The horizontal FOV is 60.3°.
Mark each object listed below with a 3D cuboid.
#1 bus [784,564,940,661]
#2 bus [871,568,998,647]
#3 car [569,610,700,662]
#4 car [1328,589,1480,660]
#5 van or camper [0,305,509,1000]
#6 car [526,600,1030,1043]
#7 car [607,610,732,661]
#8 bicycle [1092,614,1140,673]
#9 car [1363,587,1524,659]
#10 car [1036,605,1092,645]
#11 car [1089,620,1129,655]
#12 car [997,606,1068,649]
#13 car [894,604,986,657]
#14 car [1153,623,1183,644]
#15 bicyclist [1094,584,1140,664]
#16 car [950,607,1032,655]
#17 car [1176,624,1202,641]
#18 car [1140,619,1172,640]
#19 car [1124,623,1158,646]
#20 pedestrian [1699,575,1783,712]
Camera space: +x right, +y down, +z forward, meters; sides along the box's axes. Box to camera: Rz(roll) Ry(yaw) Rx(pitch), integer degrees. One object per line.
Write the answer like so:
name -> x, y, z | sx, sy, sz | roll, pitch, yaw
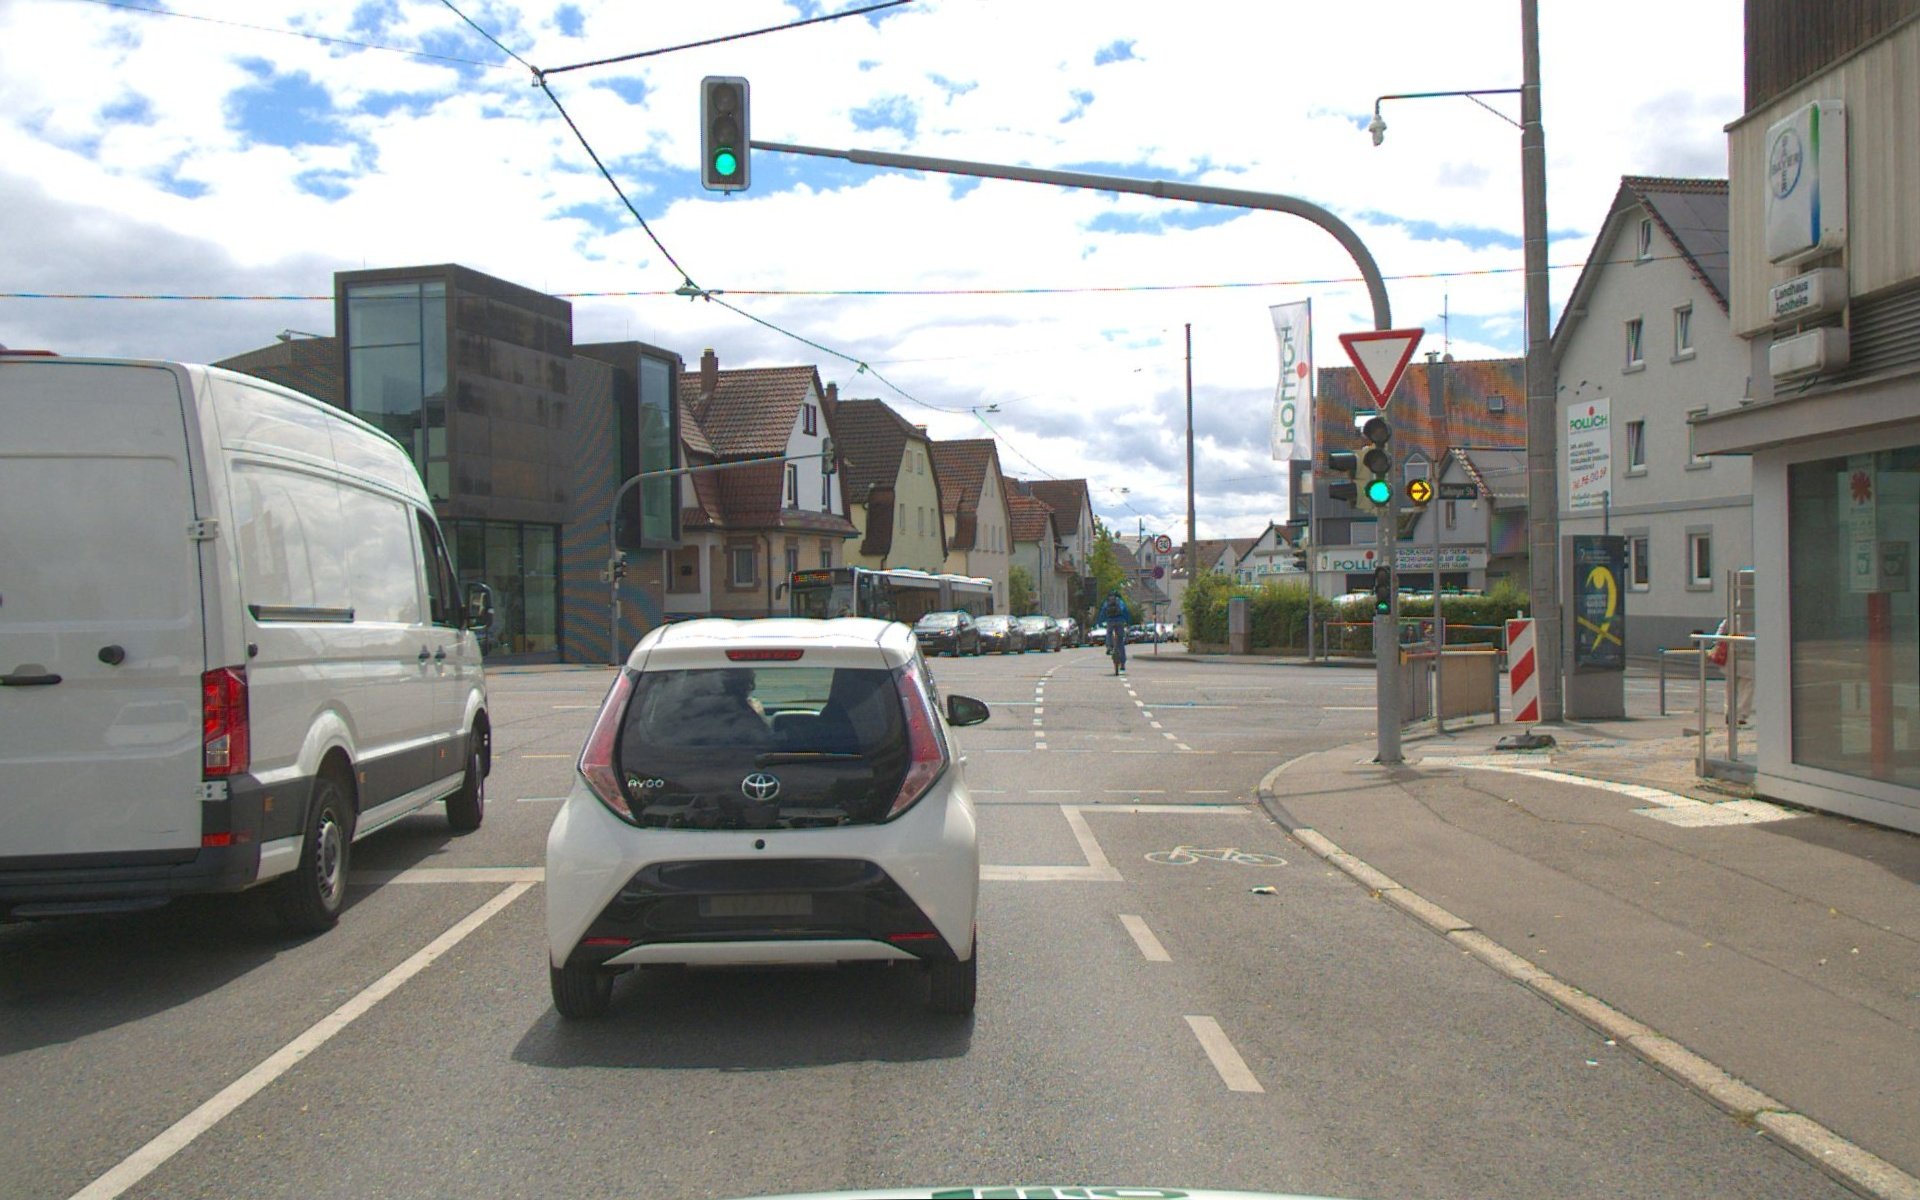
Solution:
bus -> -3.215, 0.406, 57.541 | 2.719, 3.114, 9.198 | 0, 0, 15
bus -> -0.869, 0.298, 66.587 | 2.719, 2.966, 9.198 | 0, 0, 15
car -> -11.133, 1.227, 56.740 | 3.902, 1.668, 2.002 | 1, 0, 13
car -> 13.139, 0.719, 49.059 | 3.913, 2.049, 1.996 | 0, 0, -9
van or camper -> -4.085, 0.212, 9.085 | 2.066, 2.632, 5.639 | -2, 0, -5
car -> -0.701, 0.749, 7.411 | 1.703, 1.486, 3.530 | 0, 0, -3
car -> -10.420, 1.274, 59.384 | 3.902, 1.713, 2.002 | -2, -1, 13
bicycle -> 3.320, 0.909, 35.337 | 0.815, 1.184, 2.191 | 0, 0, 0
car -> 13.598, 0.653, 46.654 | 3.914, 1.982, 1.995 | 0, -1, -10
car -> 5.485, 1.307, 87.140 | 1.952, 2.049, 4.001 | 0, 0, 19
car -> 9.159, 2.279, 101.378 | 1.951, 2.049, 4.003 | 0, 0, 12
car -> 2.975, 1.074, 67.196 | 1.951, 1.668, 4.002 | 0, 0, 16
car -> -0.625, 0.984, 54.769 | 1.951, 1.668, 4.002 | 0, 0, 16
car -> 17.778, 2.861, 141.096 | 1.951, 1.668, 4.002 | 0, 0, 16
bicyclist -> 3.339, 0.499, 35.247 | 0.823, 1.642, 1.083 | 2, -1, -1
car -> 1.165, 1.082, 59.994 | 1.951, 1.668, 4.186 | 0, 0, 16
car -> 22.429, 3.176, 162.221 | 1.951, 1.668, 4.002 | 0, 0, 16
car -> 15.950, 2.381, 134.383 | 1.951, 1.668, 4.002 | 0, 0, 16
car -> 13.803, 2.624, 125.975 | 1.951, 1.668, 4.002 | 0, 0, 16
pedestrian -> 9.753, 0.535, 20.682 | 0.816, 1.666, 0.874 | 0, 0, 16
